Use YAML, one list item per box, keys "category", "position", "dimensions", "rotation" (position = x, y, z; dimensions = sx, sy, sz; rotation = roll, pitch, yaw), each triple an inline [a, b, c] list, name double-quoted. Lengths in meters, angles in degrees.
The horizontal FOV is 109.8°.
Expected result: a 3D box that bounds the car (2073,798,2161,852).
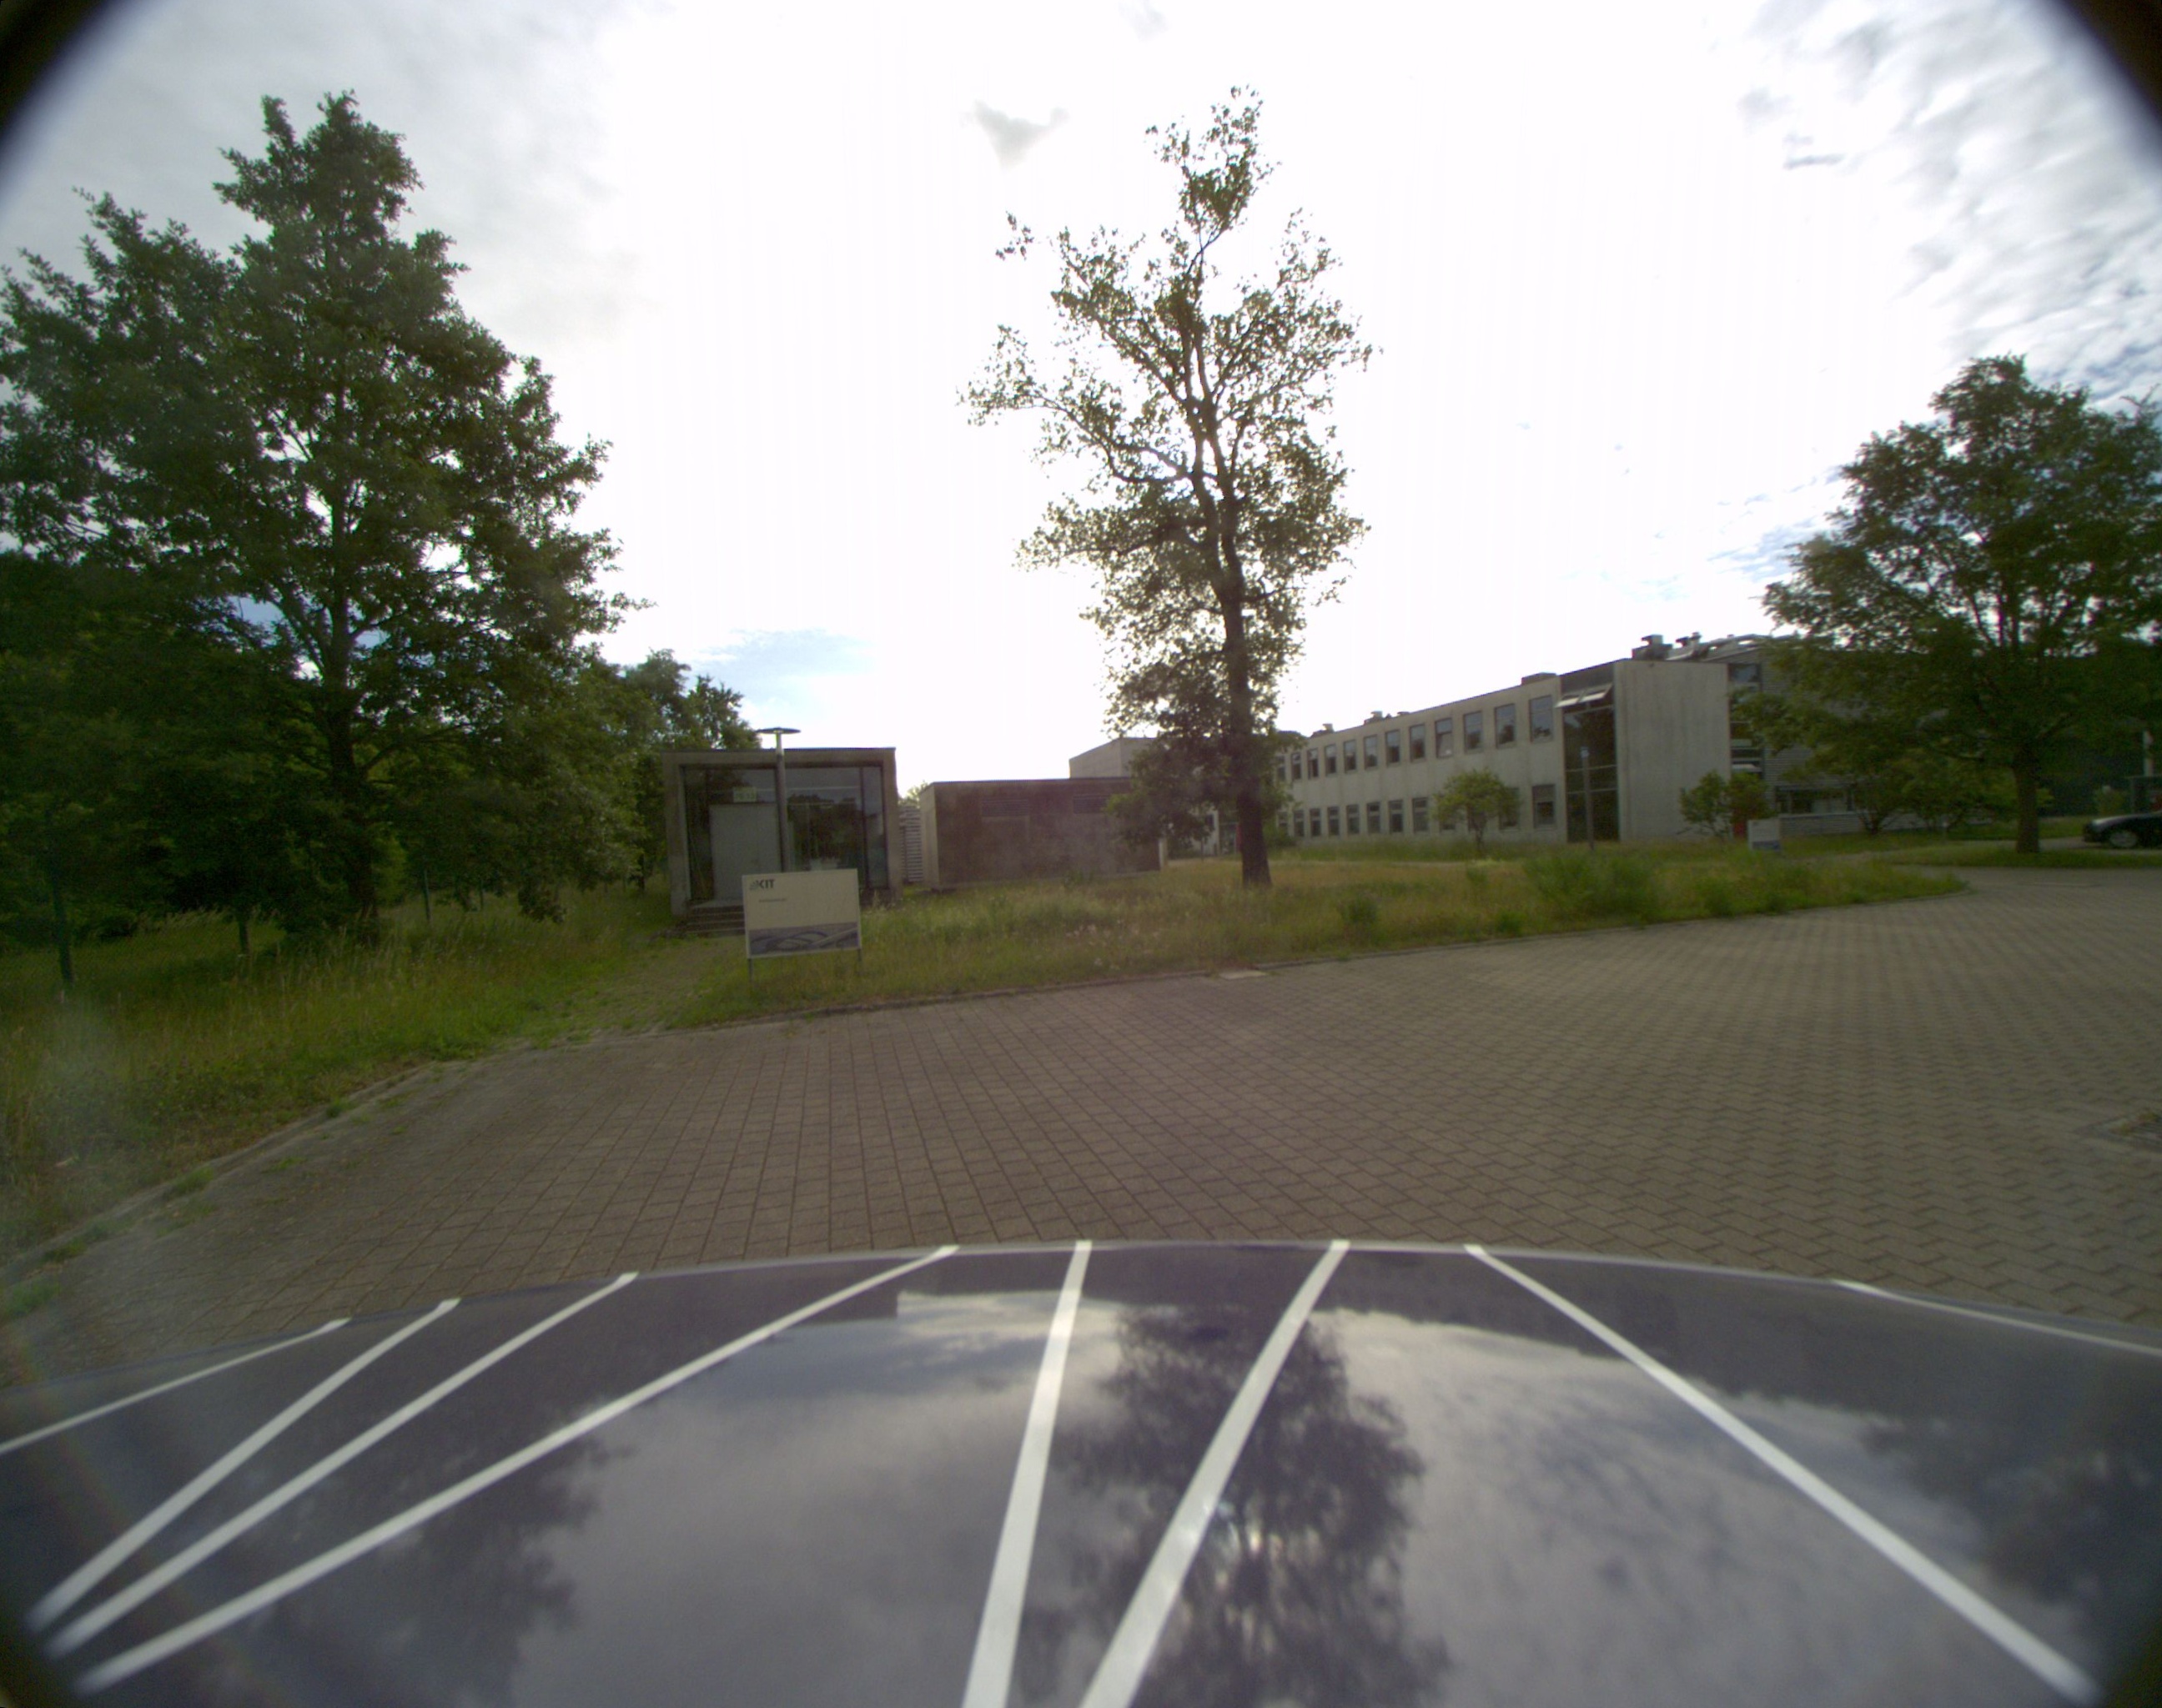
- category: "car"
  position: [30.425, -0.813, 20.235]
  dimensions: [1.945, 1.439, 4.470]
  rotation: [-3, 2, -18]
